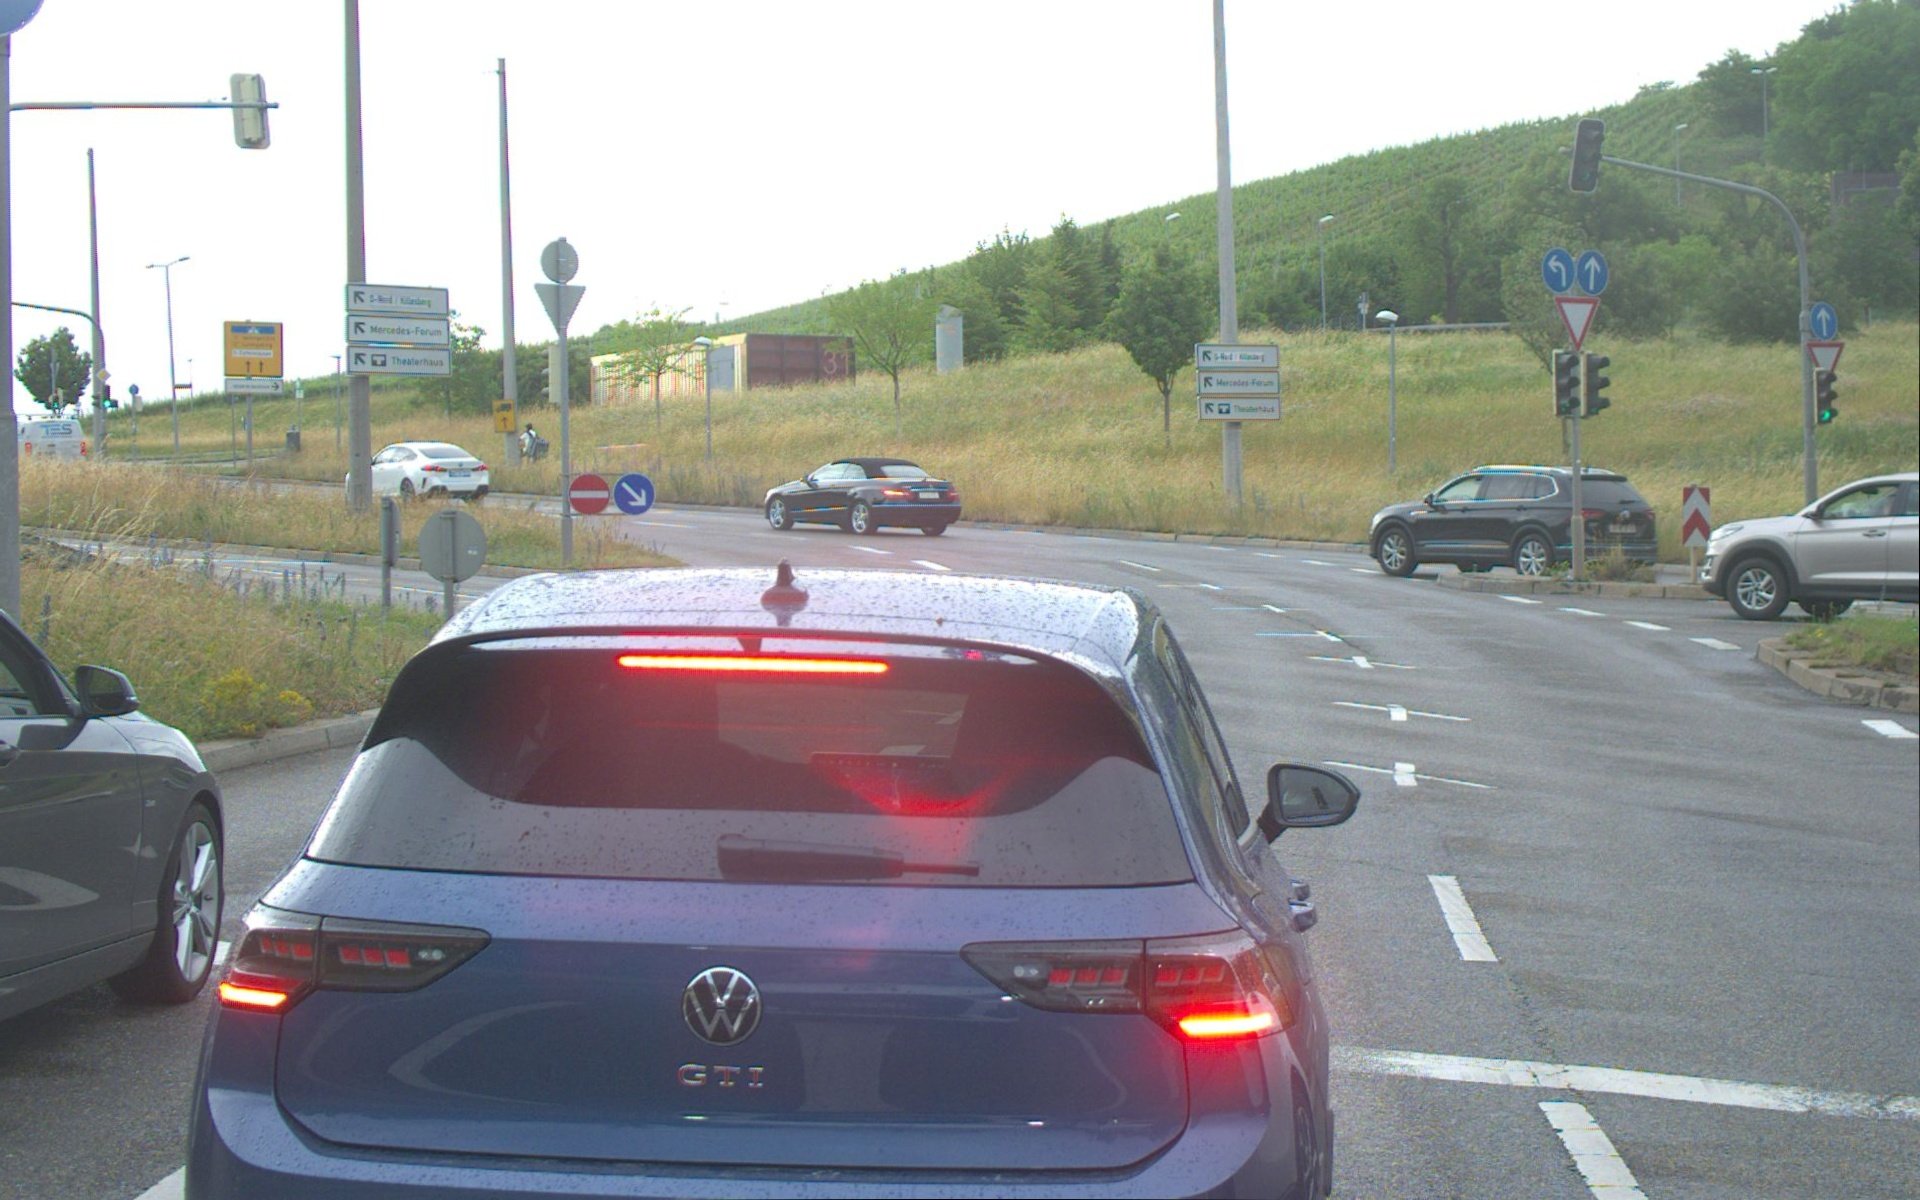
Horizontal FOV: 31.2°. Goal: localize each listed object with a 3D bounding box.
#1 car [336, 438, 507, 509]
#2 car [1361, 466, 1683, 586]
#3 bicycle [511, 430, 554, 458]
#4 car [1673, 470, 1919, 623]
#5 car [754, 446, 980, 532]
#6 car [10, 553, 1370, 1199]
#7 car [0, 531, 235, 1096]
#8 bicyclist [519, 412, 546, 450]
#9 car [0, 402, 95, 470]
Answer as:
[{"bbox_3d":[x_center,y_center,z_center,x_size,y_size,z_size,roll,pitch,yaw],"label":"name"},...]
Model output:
[{"bbox_3d":[-12.298,-2.860,78.268,1.994,1.472,4.420,1,0,-37],"label":"car"},{"bbox_3d":[8.046,-1.038,49.596,1.994,1.631,4.420,1,0,-37],"label":"car"},{"bbox_3d":[-12.444,-4.532,100.036,0.518,0.772,1.621,2,1,-33],"label":"bicycle"},{"bbox_3d":[10.273,-0.569,37.355,4.520,1.615,1.996,1,0,38],"label":"car"},{"bbox_3d":[-1.765,-2.030,63.700,1.994,1.472,4.502,1,0,-36],"label":"car"},{"bbox_3d":[-0.218,0.652,6.477,1.825,1.455,3.808,0,1,5],"label":"car"},{"bbox_3d":[-3.308,0.545,9.206,1.703,1.455,4.114,0,0,2],"label":"car"},{"bbox_3d":[-12.447,-4.920,100.084,0.523,1.043,0.580,3,1,-33],"label":"bicyclist"},{"bbox_3d":[-27.396,-4.807,101.068,2.129,1.788,4.740,1,0,-37],"label":"car"}]
